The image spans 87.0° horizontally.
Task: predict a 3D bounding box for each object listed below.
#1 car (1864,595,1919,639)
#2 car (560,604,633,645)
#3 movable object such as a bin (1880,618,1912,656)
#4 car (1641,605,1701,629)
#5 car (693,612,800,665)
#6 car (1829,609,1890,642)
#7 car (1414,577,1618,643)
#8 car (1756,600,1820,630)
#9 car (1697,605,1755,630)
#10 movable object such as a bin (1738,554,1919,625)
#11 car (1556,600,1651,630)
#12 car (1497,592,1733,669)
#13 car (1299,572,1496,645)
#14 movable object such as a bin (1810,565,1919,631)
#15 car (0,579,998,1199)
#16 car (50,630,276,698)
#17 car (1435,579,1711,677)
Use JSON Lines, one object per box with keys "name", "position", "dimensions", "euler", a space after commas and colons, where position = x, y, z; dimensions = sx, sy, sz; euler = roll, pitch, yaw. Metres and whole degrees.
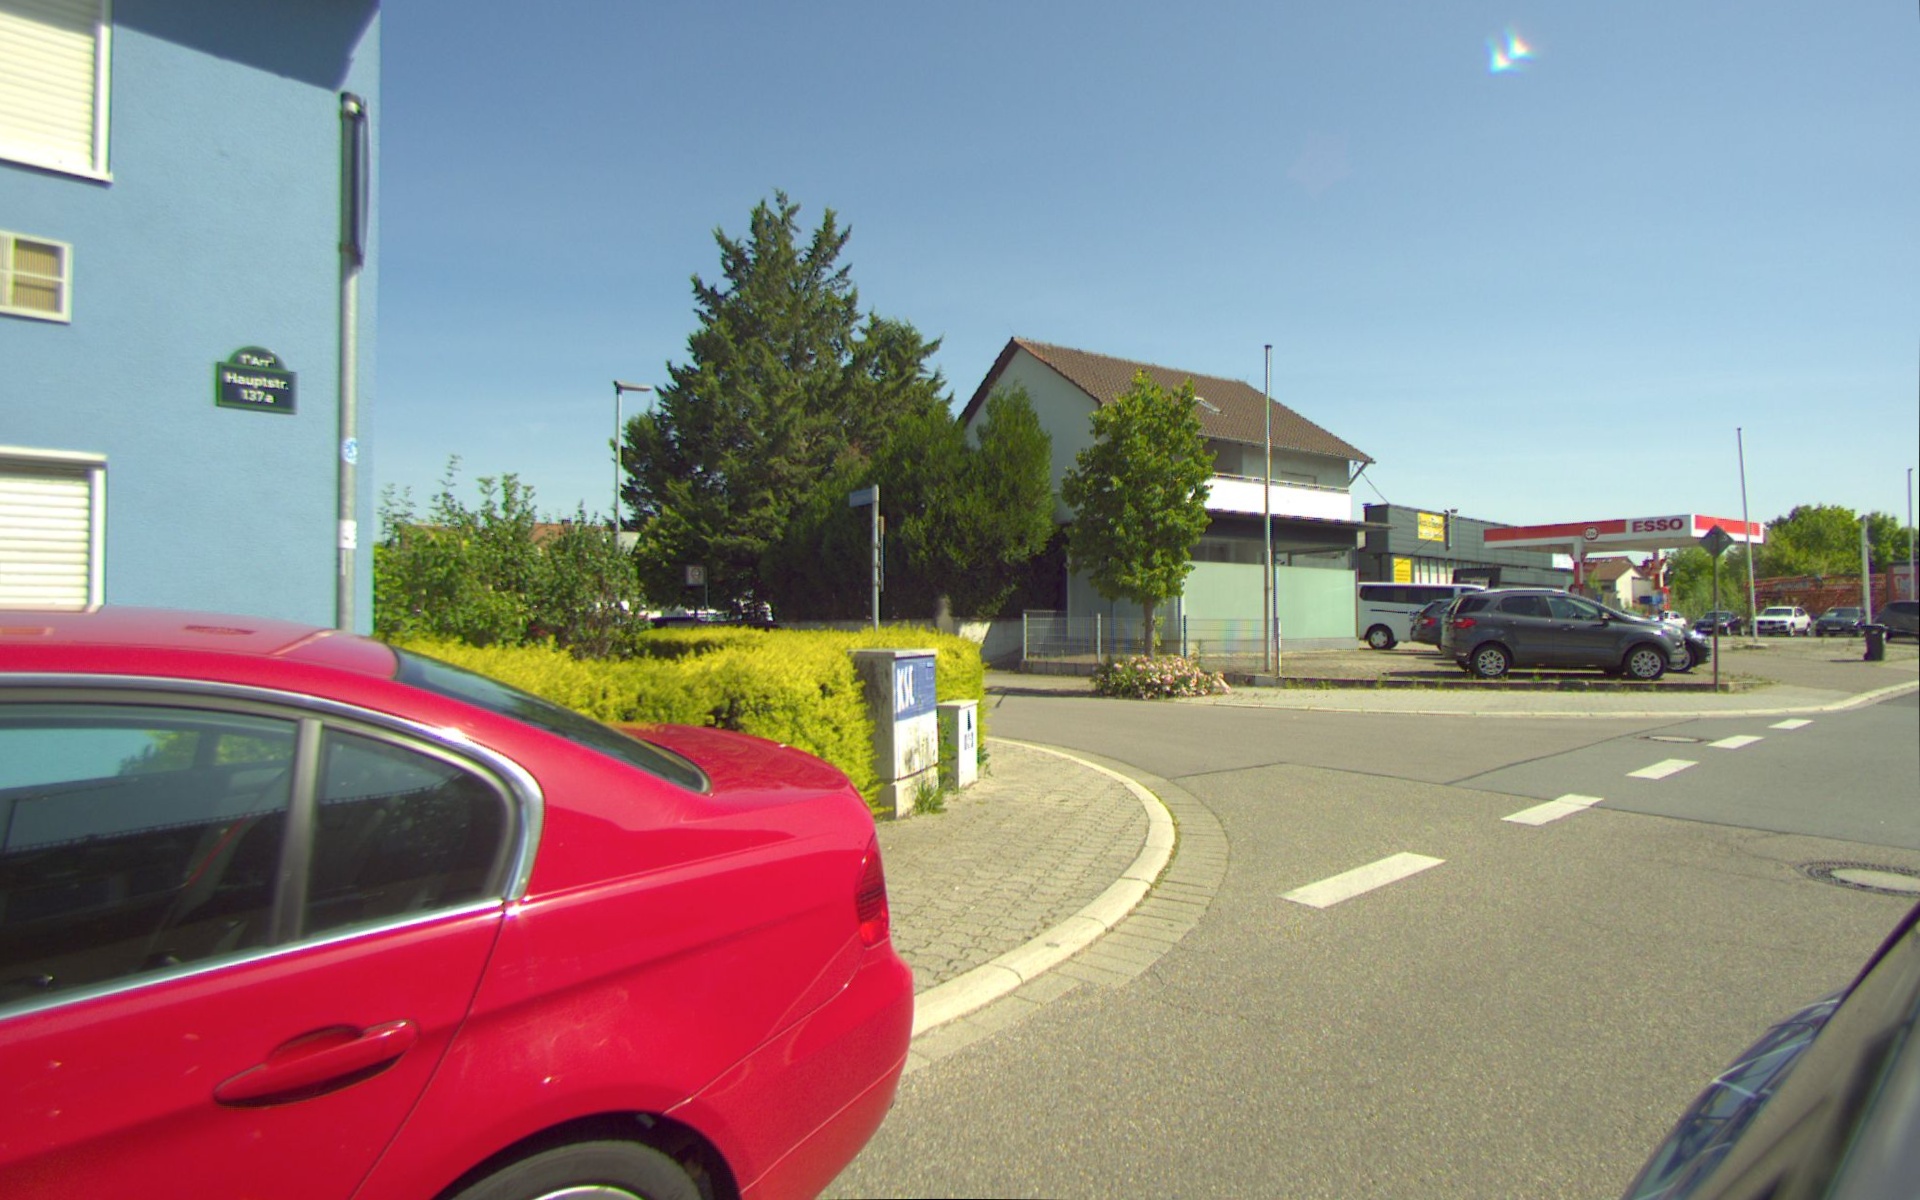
{"name": "car", "position": [35.714, 0.618, 37.029], "dimensions": [1.743, 1.575, 4.176], "euler": [0, -1, 5]}
{"name": "car", "position": [-15.420, 1.052, 42.797], "dimensions": [1.611, 1.558, 3.896], "euler": [0, -3, -41]}
{"name": "movable object such as a bin", "position": [23.851, 0.938, 25.780], "dimensions": [0.506, 0.948, 0.558], "euler": [1, -1, -43]}
{"name": "car", "position": [42.678, 0.993, 60.720], "dimensions": [4.298, 1.404, 1.845], "euler": [0, -1, -40]}
{"name": "car", "position": [-6.806, 1.228, 32.005], "dimensions": [1.611, 1.499, 3.896], "euler": [0, -3, -41]}
{"name": "car", "position": [47.820, 1.321, 53.789], "dimensions": [4.033, 1.612, 1.845], "euler": [0, -1, -40]}
{"name": "car", "position": [14.048, 0.243, 25.877], "dimensions": [4.263, 1.570, 1.971], "euler": [0, -1, 20]}
{"name": "car", "position": [45.985, 0.806, 56.172], "dimensions": [4.261, 1.612, 2.002], "euler": [0, -1, -40]}
{"name": "car", "position": [44.037, 0.983, 58.165], "dimensions": [3.929, 1.404, 1.845], "euler": [0, -1, -40]}
{"name": "movable object such as a bin", "position": [55.769, -0.593, 59.321], "dimensions": [2.720, 4.070, 16.106], "euler": [1, -1, -34]}
{"name": "car", "position": [36.283, 0.827, 57.167], "dimensions": [1.778, 1.655, 4.151], "euler": [0, -1, -37]}
{"name": "car", "position": [13.365, 0.590, 20.944], "dimensions": [3.830, 1.465, 1.737], "euler": [0, -1, 24]}
{"name": "car", "position": [13.122, 0.248, 30.456], "dimensions": [5.242, 2.039, 2.207], "euler": [0, -1, 31]}
{"name": "movable object such as a bin", "position": [62.834, -0.113, 64.274], "dimensions": [2.808, 4.219, 13.298], "euler": [1, -1, -34]}
{"name": "car", "position": [-2.091, 0.706, 1.418], "dimensions": [4.279, 1.513, 1.735], "euler": [2, -1, -42]}
{"name": "car", "position": [-19.710, 1.548, 25.217], "dimensions": [4.308, 1.448, 1.695], "euler": [0, -3, -39]}
{"name": "car", "position": [11.199, 0.479, 18.847], "dimensions": [4.062, 1.674, 1.819], "euler": [0, -1, 20]}
